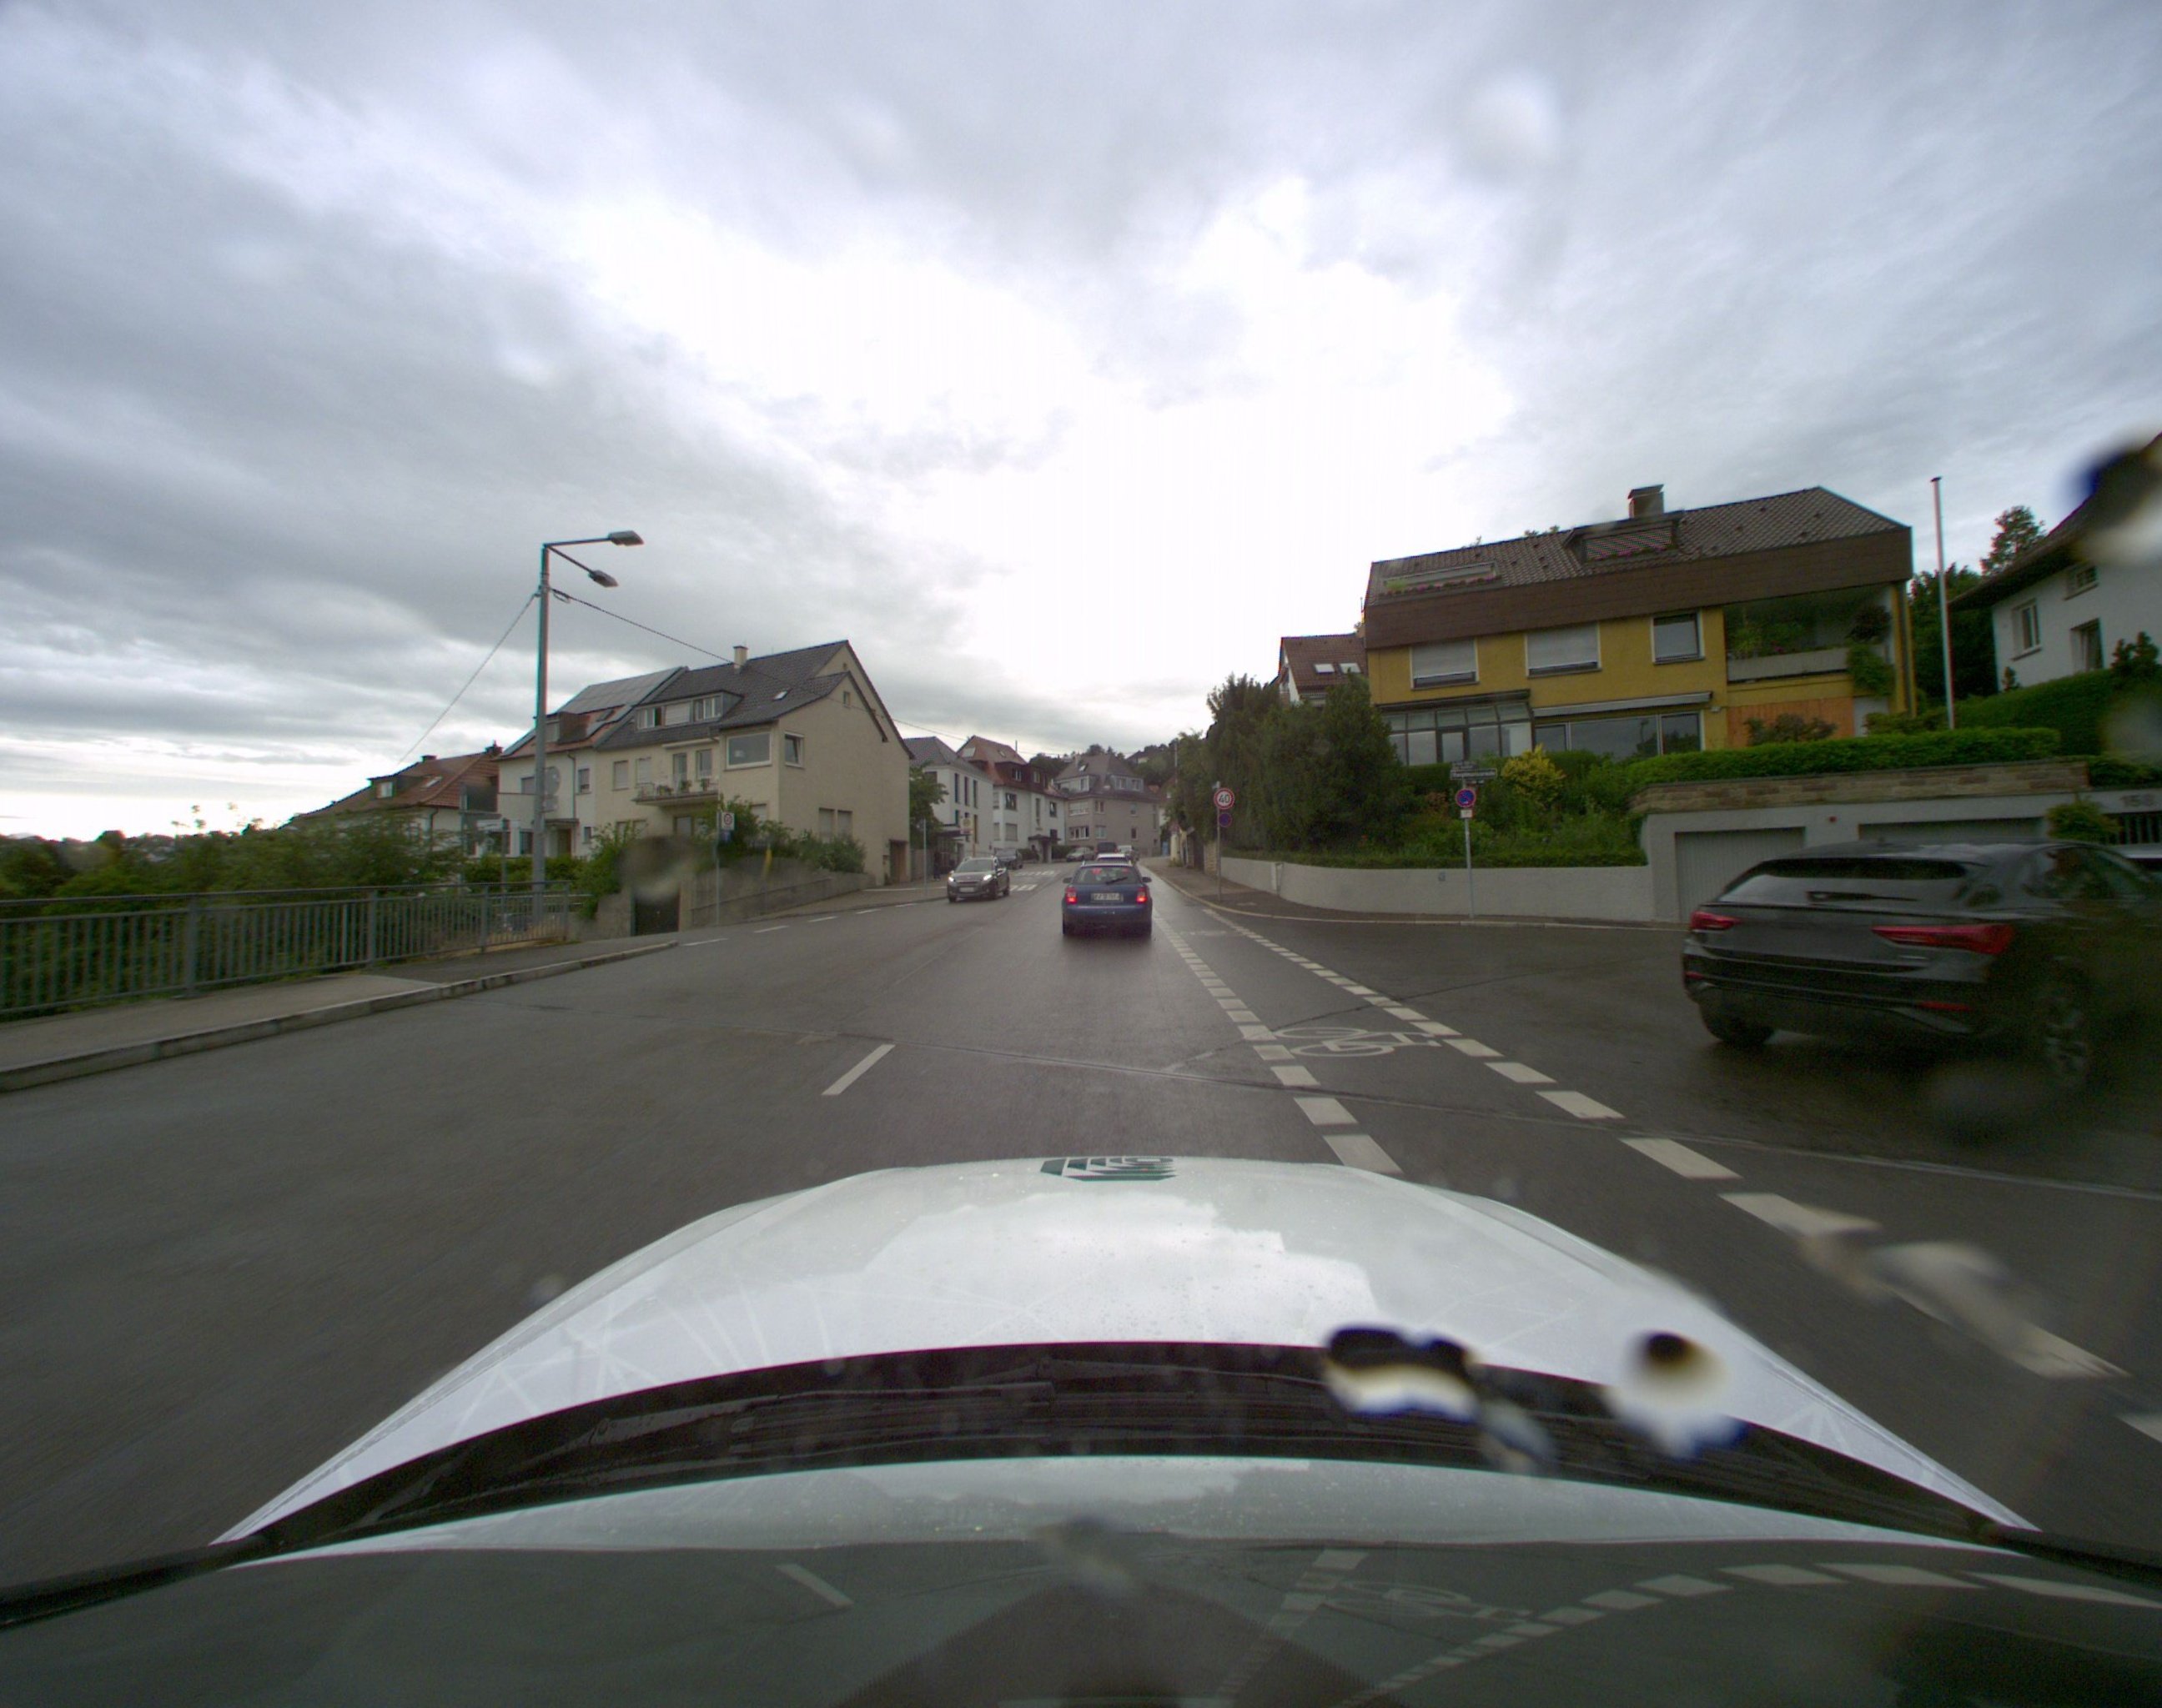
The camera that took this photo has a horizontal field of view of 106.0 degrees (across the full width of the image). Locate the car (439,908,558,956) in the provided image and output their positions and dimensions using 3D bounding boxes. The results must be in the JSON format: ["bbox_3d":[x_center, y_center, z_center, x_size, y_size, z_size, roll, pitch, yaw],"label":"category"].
[{"bbox_3d":[-20.671,2.770,28.878,3.951,1.271,1.662,-8,-6,24],"label":"car"}]

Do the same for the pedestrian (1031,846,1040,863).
[{"bbox_3d":[-4.496,0.034,80.154,0.488,1.577,0.952,-2,1,20],"label":"pedestrian"}]

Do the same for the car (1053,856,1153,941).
[{"bbox_3d":[0.490,0.812,16.807,1.804,1.439,4.084,0,1,2],"label":"car"}]

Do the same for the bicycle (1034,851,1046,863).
[{"bbox_3d":[-4.000,0.289,80.050,0.452,1.067,1.931,-2,1,20],"label":"bicycle"}]

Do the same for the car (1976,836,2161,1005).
[{"bbox_3d":[10.966,0.537,7.796,4.056,1.425,1.789,-1,-1,-20],"label":"car"}]

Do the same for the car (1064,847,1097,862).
[{"bbox_3d":[-0.001,0.057,84.472,1.819,1.425,4.253,-3,0,24],"label":"car"}]

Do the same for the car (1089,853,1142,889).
[{"bbox_3d":[1.341,0.663,32.855,1.807,1.361,3.996,0,-1,-2],"label":"car"}]

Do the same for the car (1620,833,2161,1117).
[{"bbox_3d":[6.464,0.627,6.113,4.204,1.522,1.986,-1,0,-21],"label":"car"}]

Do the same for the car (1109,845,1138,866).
[{"bbox_3d":[3.857,0.097,73.105,1.915,1.706,4.013,-2,0,12],"label":"car"}]

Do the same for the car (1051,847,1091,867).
[{"bbox_3d":[-1.183,0.302,93.508,3.948,1.823,2.013,-7,-2,29],"label":"car"}]

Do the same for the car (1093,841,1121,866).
[{"bbox_3d":[1.913,-0.041,60.223,1.921,1.706,4.002,-3,0,2],"label":"car"}]

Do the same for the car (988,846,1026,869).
[{"bbox_3d":[-5.330,0.228,59.248,1.820,1.485,4.998,-2,0,5],"label":"car"}]

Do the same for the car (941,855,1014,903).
[{"bbox_3d":[-3.670,0.851,29.464,1.725,1.545,4.006,-3,0,5],"label":"car"}]

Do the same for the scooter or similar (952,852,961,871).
[{"bbox_3d":[-8.312,0.505,54.452,0.336,1.220,1.123,-1,0,3],"label":"scooter or similar"}]

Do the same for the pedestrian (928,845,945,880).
[{"bbox_3d":[-7.834,0.442,44.194,0.783,1.857,0.728,0,0,1],"label":"pedestrian"}]
